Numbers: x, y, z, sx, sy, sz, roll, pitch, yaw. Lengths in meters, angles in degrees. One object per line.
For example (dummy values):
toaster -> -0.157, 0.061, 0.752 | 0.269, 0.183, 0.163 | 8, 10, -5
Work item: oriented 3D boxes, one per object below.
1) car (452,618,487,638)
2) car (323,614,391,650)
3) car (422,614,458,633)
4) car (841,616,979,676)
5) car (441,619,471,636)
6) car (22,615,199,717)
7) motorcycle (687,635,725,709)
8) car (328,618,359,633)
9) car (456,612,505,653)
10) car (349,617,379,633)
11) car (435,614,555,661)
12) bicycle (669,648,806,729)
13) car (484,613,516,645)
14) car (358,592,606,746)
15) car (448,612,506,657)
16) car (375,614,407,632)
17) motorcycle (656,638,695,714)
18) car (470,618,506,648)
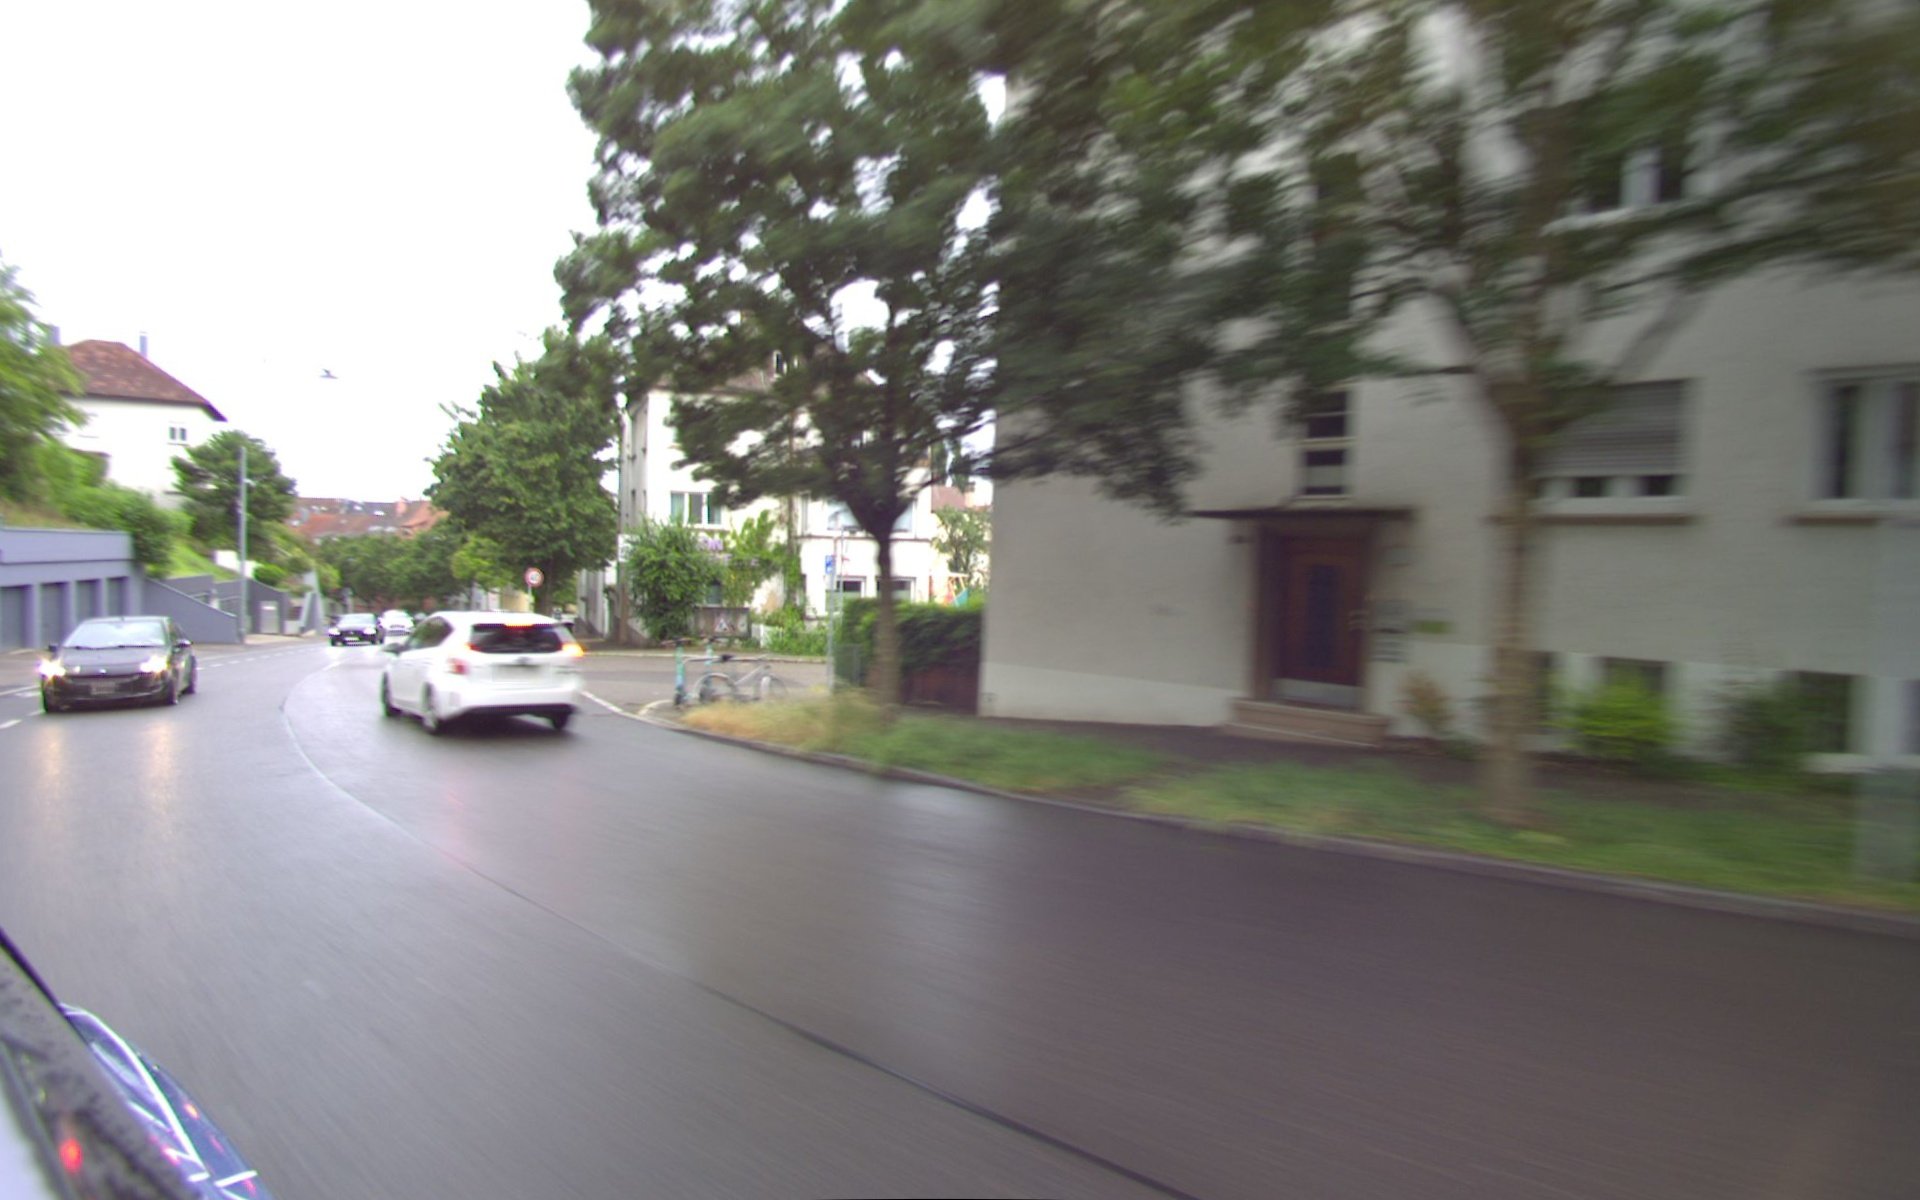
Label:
car -> -42.738, 2.423, 88.137 | 1.752, 1.552, 4.526 | -2, 1, -38
car -> -27.822, 1.432, 46.790 | 1.965, 1.522, 4.224 | -1, 0, -21
car -> -49.228, 2.239, 95.761 | 1.832, 1.703, 4.559 | 0, -1, -43
car -> -1.642, 1.473, 32.464 | 4.038, 1.528, 2.005 | 5, 0, -12
car -> -45.798, 2.483, 91.932 | 1.593, 1.407, 4.331 | -1, 0, -38
car -> -14.073, 1.003, 16.988 | 1.670, 1.475, 4.012 | 0, -1, -31
motorcycle -> -4.552, 1.255, 18.097 | 0.544, 1.237, 1.309 | 0, -1, -19
car -> -71.524, 2.990, 117.348 | 4.477, 1.653, 1.769 | -2, 0, 41
car -> -20.778, 1.363, 43.937 | 1.779, 1.639, 4.153 | -1, 0, -24
car -> -67.244, 2.793, 114.131 | 4.601, 1.703, 1.727 | -2, 0, 44
car -> -15.139, 1.170, 32.875 | 4.194, 1.401, 1.973 | 0, 0, 40
bicycle -> -3.310, 1.284, 15.183 | 0.754, 1.068, 1.942 | -1, -1, 42
car -> -31.492, 1.954, 69.351 | 1.887, 2.016, 4.563 | -1, 1, -24
car -> -6.859, 0.901, 14.238 | 1.959, 1.802, 4.702 | 3, -3, -40
car -> -17.588, 1.254, 36.985 | 1.688, 1.474, 3.893 | -2, -1, -23
car -> -60.861, 2.506, 108.239 | 4.484, 1.790, 1.833 | -2, 0, 45
motorcycle -> -4.905, 1.274, 17.407 | 0.549, 1.213, 1.403 | 0, -1, -19
car -> -27.515, 1.885, 59.037 | 1.779, 1.464, 4.612 | -1, 1, -24
